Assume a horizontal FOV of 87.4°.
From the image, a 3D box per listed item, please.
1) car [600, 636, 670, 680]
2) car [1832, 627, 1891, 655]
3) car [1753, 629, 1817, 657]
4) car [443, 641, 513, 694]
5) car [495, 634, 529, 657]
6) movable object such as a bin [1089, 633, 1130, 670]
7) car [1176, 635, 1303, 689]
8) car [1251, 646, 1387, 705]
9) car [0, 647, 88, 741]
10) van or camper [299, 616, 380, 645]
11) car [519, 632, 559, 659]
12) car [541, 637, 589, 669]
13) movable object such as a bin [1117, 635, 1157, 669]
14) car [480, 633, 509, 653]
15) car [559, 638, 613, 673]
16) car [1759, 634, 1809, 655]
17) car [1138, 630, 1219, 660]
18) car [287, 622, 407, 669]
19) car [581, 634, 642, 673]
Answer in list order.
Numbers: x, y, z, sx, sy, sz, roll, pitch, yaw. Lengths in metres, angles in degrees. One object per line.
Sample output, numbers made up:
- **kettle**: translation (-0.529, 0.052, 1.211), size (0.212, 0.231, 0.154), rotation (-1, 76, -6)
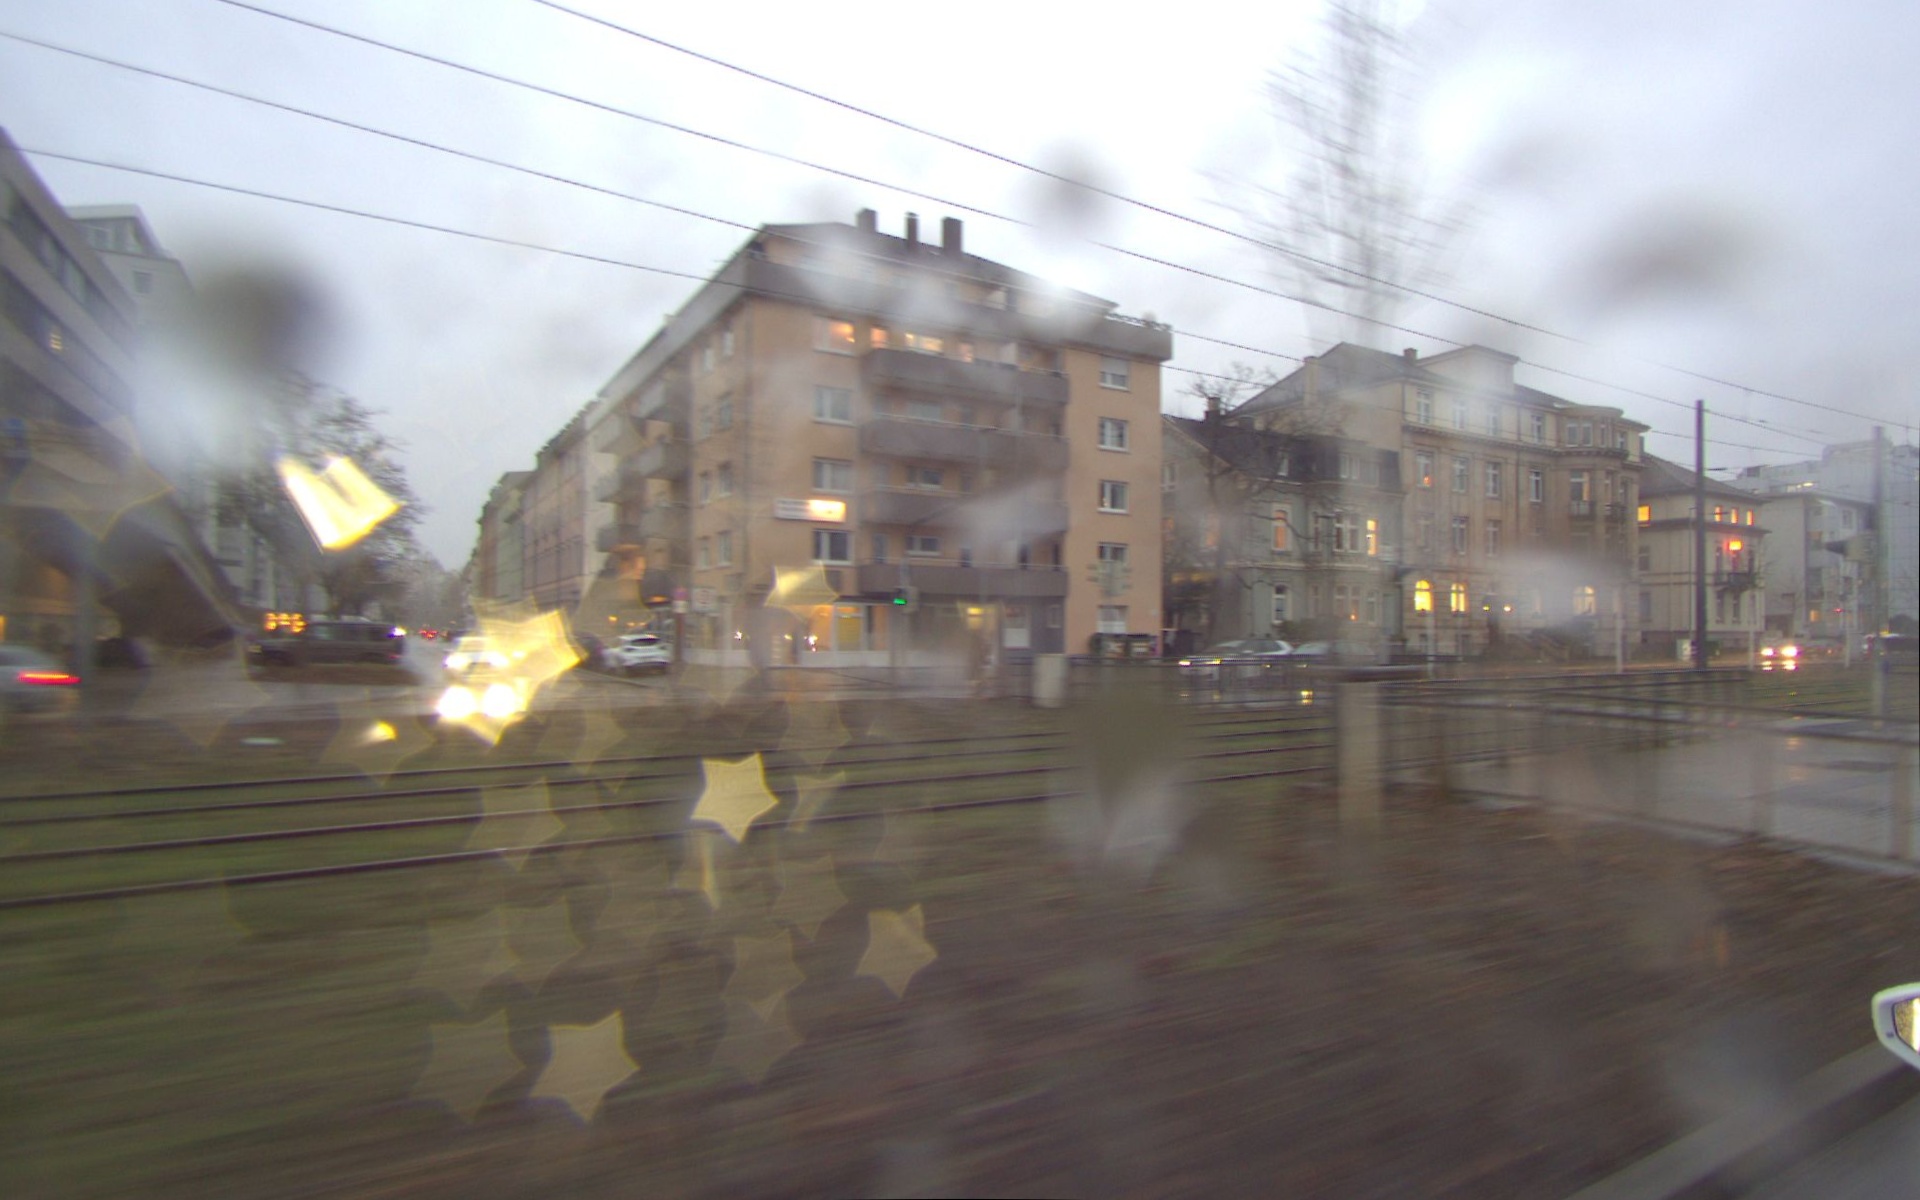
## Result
- **car**: translation (-12.665, 2.226, 39.077), size (1.758, 1.572, 3.806), rotation (1, -2, -31)
- **car**: translation (65.092, 2.936, 72.529), size (4.860, 1.958, 1.982), rotation (1, -2, -34)
- **car**: translation (51.667, 2.682, 62.884), size (4.068, 1.715, 1.982), rotation (1, -2, -33)
- **car**: translation (-16.749, 2.292, 34.797), size (1.667, 1.531, 3.963), rotation (2, 0, -33)
- **car**: translation (-31.690, 3.197, 71.033), size (1.738, 1.572, 3.806), rotation (1, -2, -31)
- **movable object such as a bin**: translation (6.555, 2.254, 44.153), size (1.410, 1.581, 1.101), rotation (1, -2, -33)
- **car**: translation (9.171, 2.003, 32.947), size (3.955, 1.606, 1.791), rotation (2, 0, -32)
- **car**: translation (10.924, 2.244, 30.499), size (3.955, 1.606, 1.791), rotation (2, 0, -32)
- **car**: translation (-18.097, 1.628, 17.255), size (4.670, 1.566, 1.975), rotation (2, -2, -43)
- **van or camper**: translation (-51.103, 2.503, 82.895), size (5.566, 2.272, 1.984), rotation (1, -2, -30)
- **car**: translation (-25.948, 2.799, 61.813), size (1.738, 1.572, 3.806), rotation (1, -2, -31)
- **car**: translation (-20.685, 2.744, 52.547), size (1.738, 1.572, 3.806), rotation (1, -2, -31)
- **movable object such as a bin**: translation (7.923, 2.324, 44.910), size (1.410, 1.500, 1.101), rotation (1, -2, -33)
- **car**: translation (-38.016, 3.503, 82.060), size (1.738, 1.572, 3.806), rotation (1, -2, -31)
- **car**: translation (-17.877, 2.620, 47.938), size (1.738, 1.572, 3.806), rotation (1, -2, -31)
- **car**: translation (61.577, 3.307, 75.031), size (3.885, 1.455, 1.796), rotation (1, -2, -33)
- **car**: translation (11.040, 2.253, 50.976), size (1.813, 1.425, 3.966), rotation (1, -2, -32)
- **car**: translation (-22.219, 1.620, 36.462), size (3.605, 1.622, 1.605), rotation (2, -2, -36)
- **car**: translation (-15.067, 2.283, 43.362), size (1.738, 1.572, 3.806), rotation (1, -2, -31)
